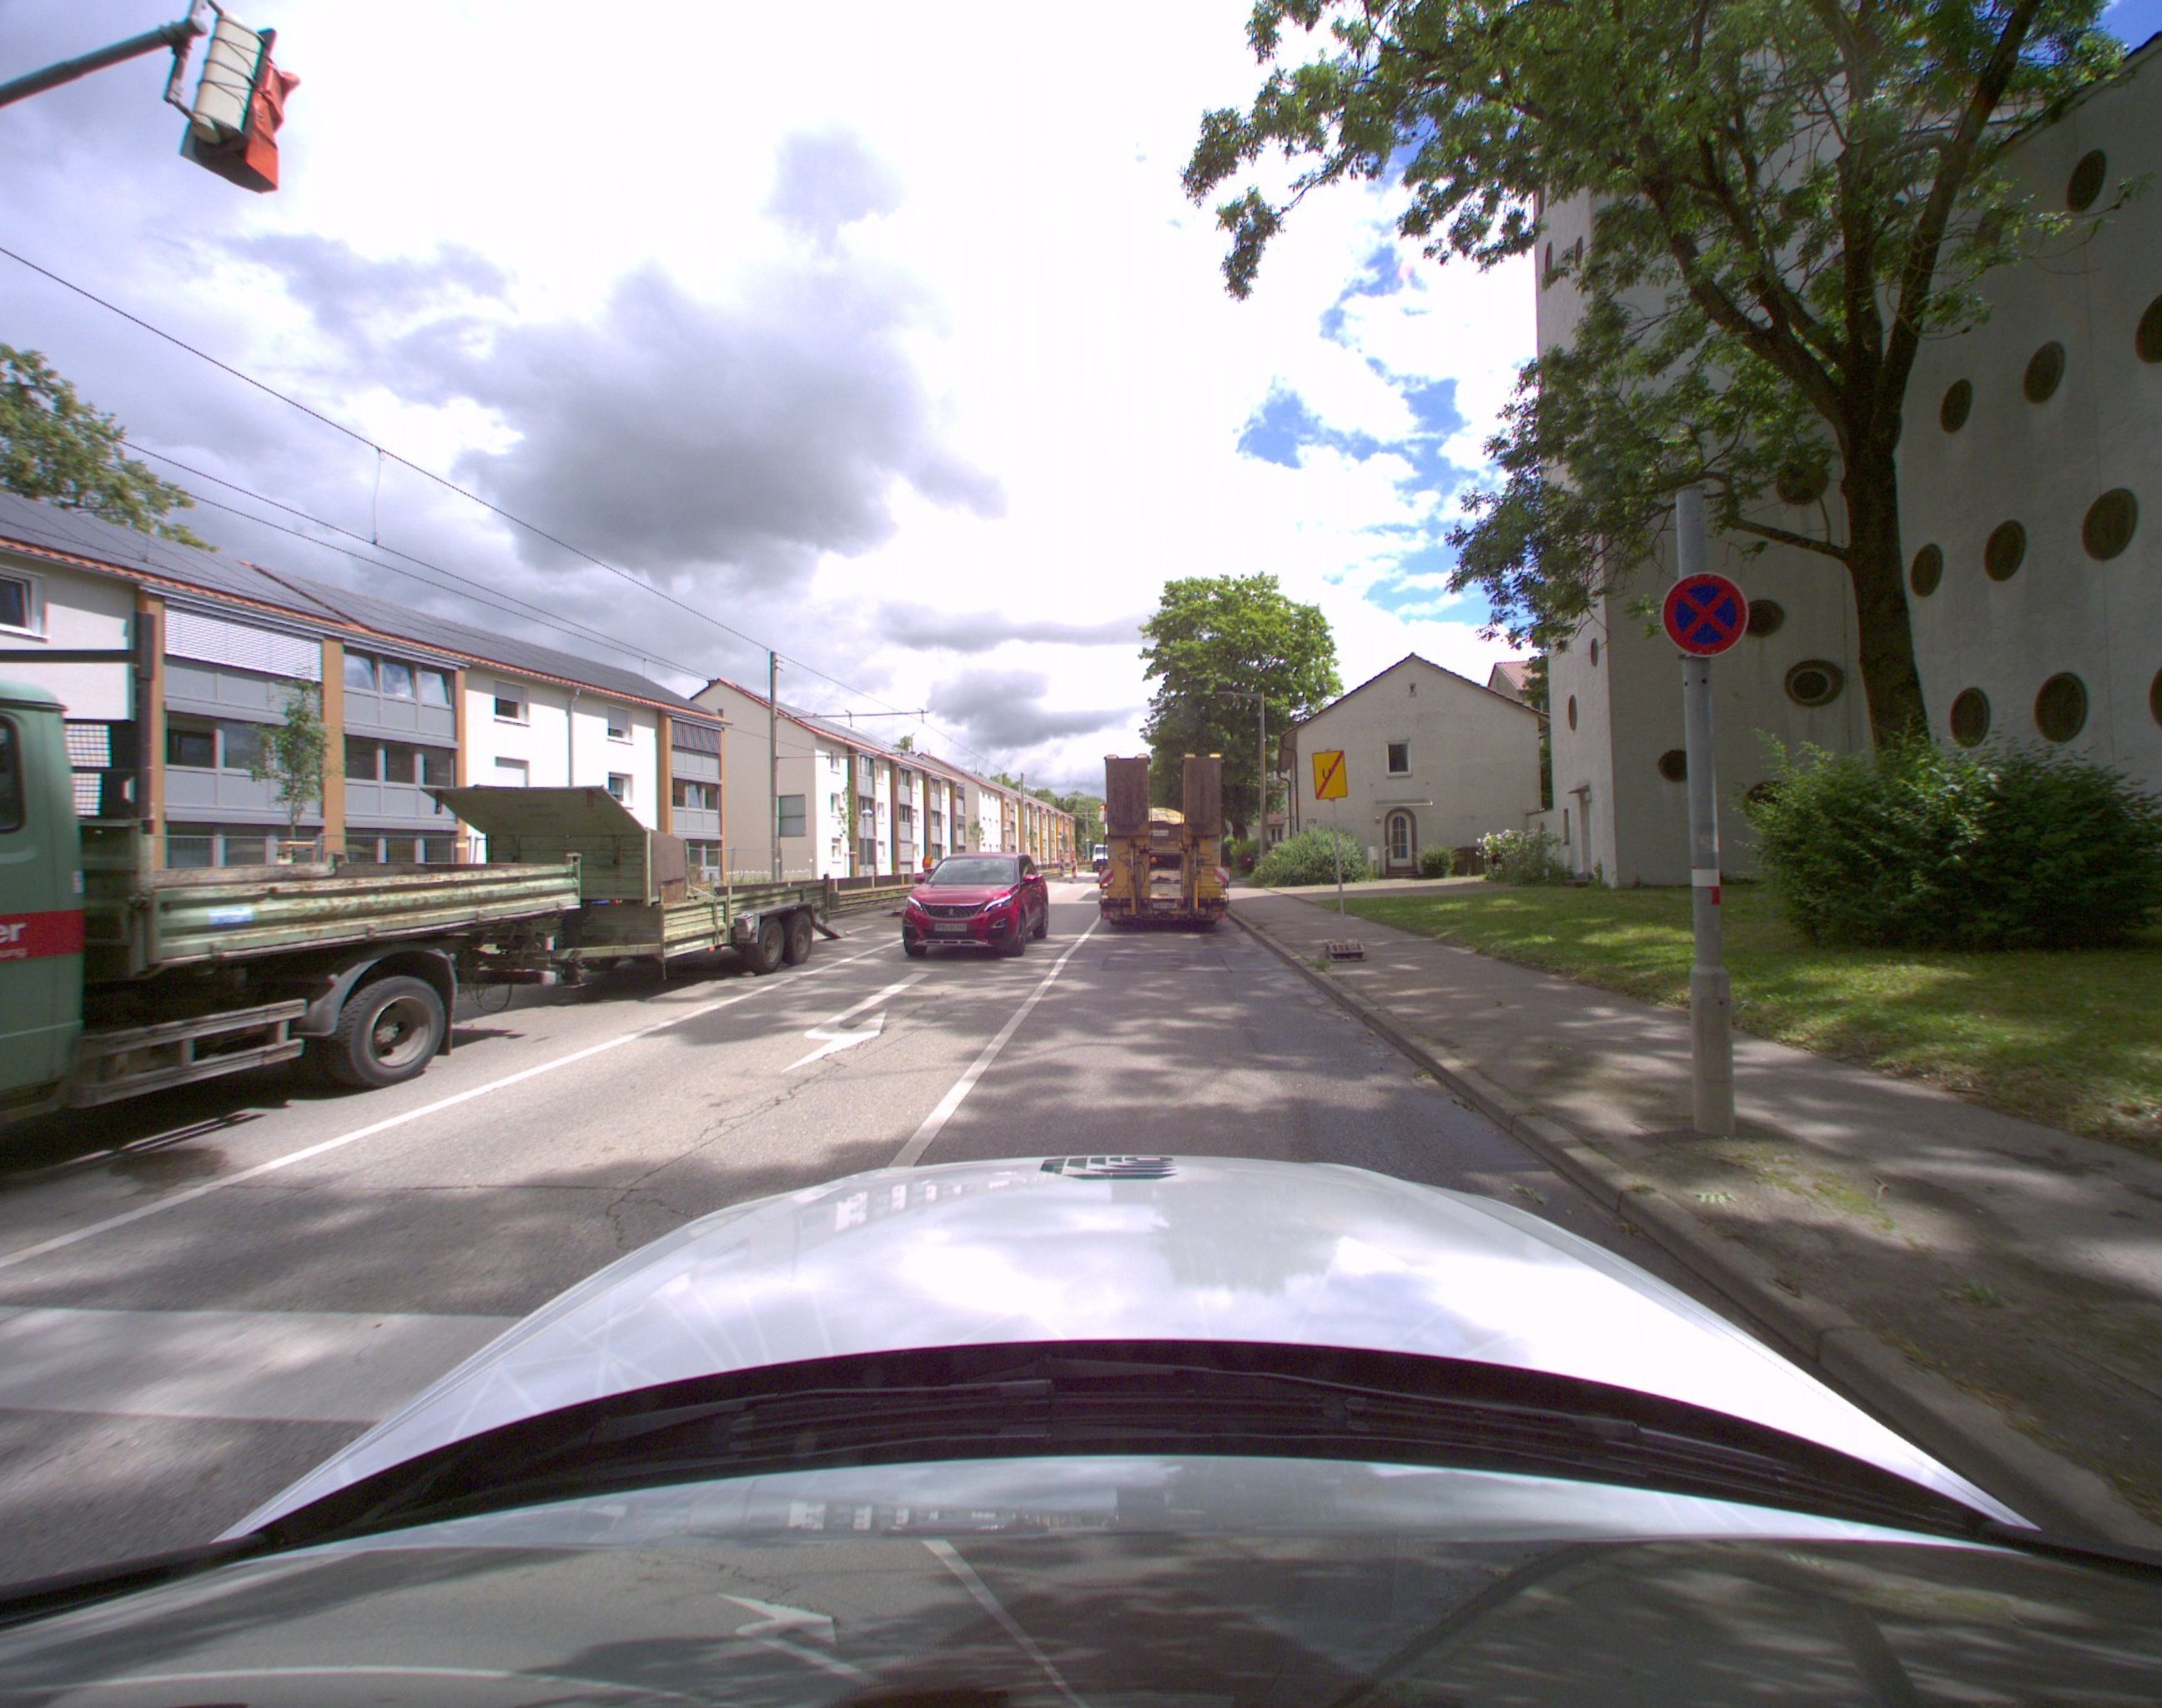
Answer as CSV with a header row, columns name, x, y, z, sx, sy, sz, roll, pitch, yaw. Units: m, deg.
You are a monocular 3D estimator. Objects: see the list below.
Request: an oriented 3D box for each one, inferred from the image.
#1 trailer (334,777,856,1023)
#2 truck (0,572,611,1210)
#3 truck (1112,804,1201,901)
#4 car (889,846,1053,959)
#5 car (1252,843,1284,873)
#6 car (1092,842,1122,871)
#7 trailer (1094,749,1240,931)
name,x,y,z,sx,sy,sz,roll,pitch,yaw
trailer,-5.352,0.426,10.607,2.650,2.214,6.255,1,0,4
truck,-5.878,0.149,4.310,2.650,2.725,6.403,1,0,4
truck,2.719,-0.039,30.683,2.905,3.167,7.687,0,0,3
car,-1.672,0.706,13.924,1.834,1.618,4.248,-1,0,5
car,11.523,0.246,50.005,1.799,1.649,4.015,-2,-1,14
car,2.280,0.215,69.799,1.983,2.430,6.333,0,0,6
trailer,2.042,-0.272,21.380,2.810,3.524,11.063,0,0,4
